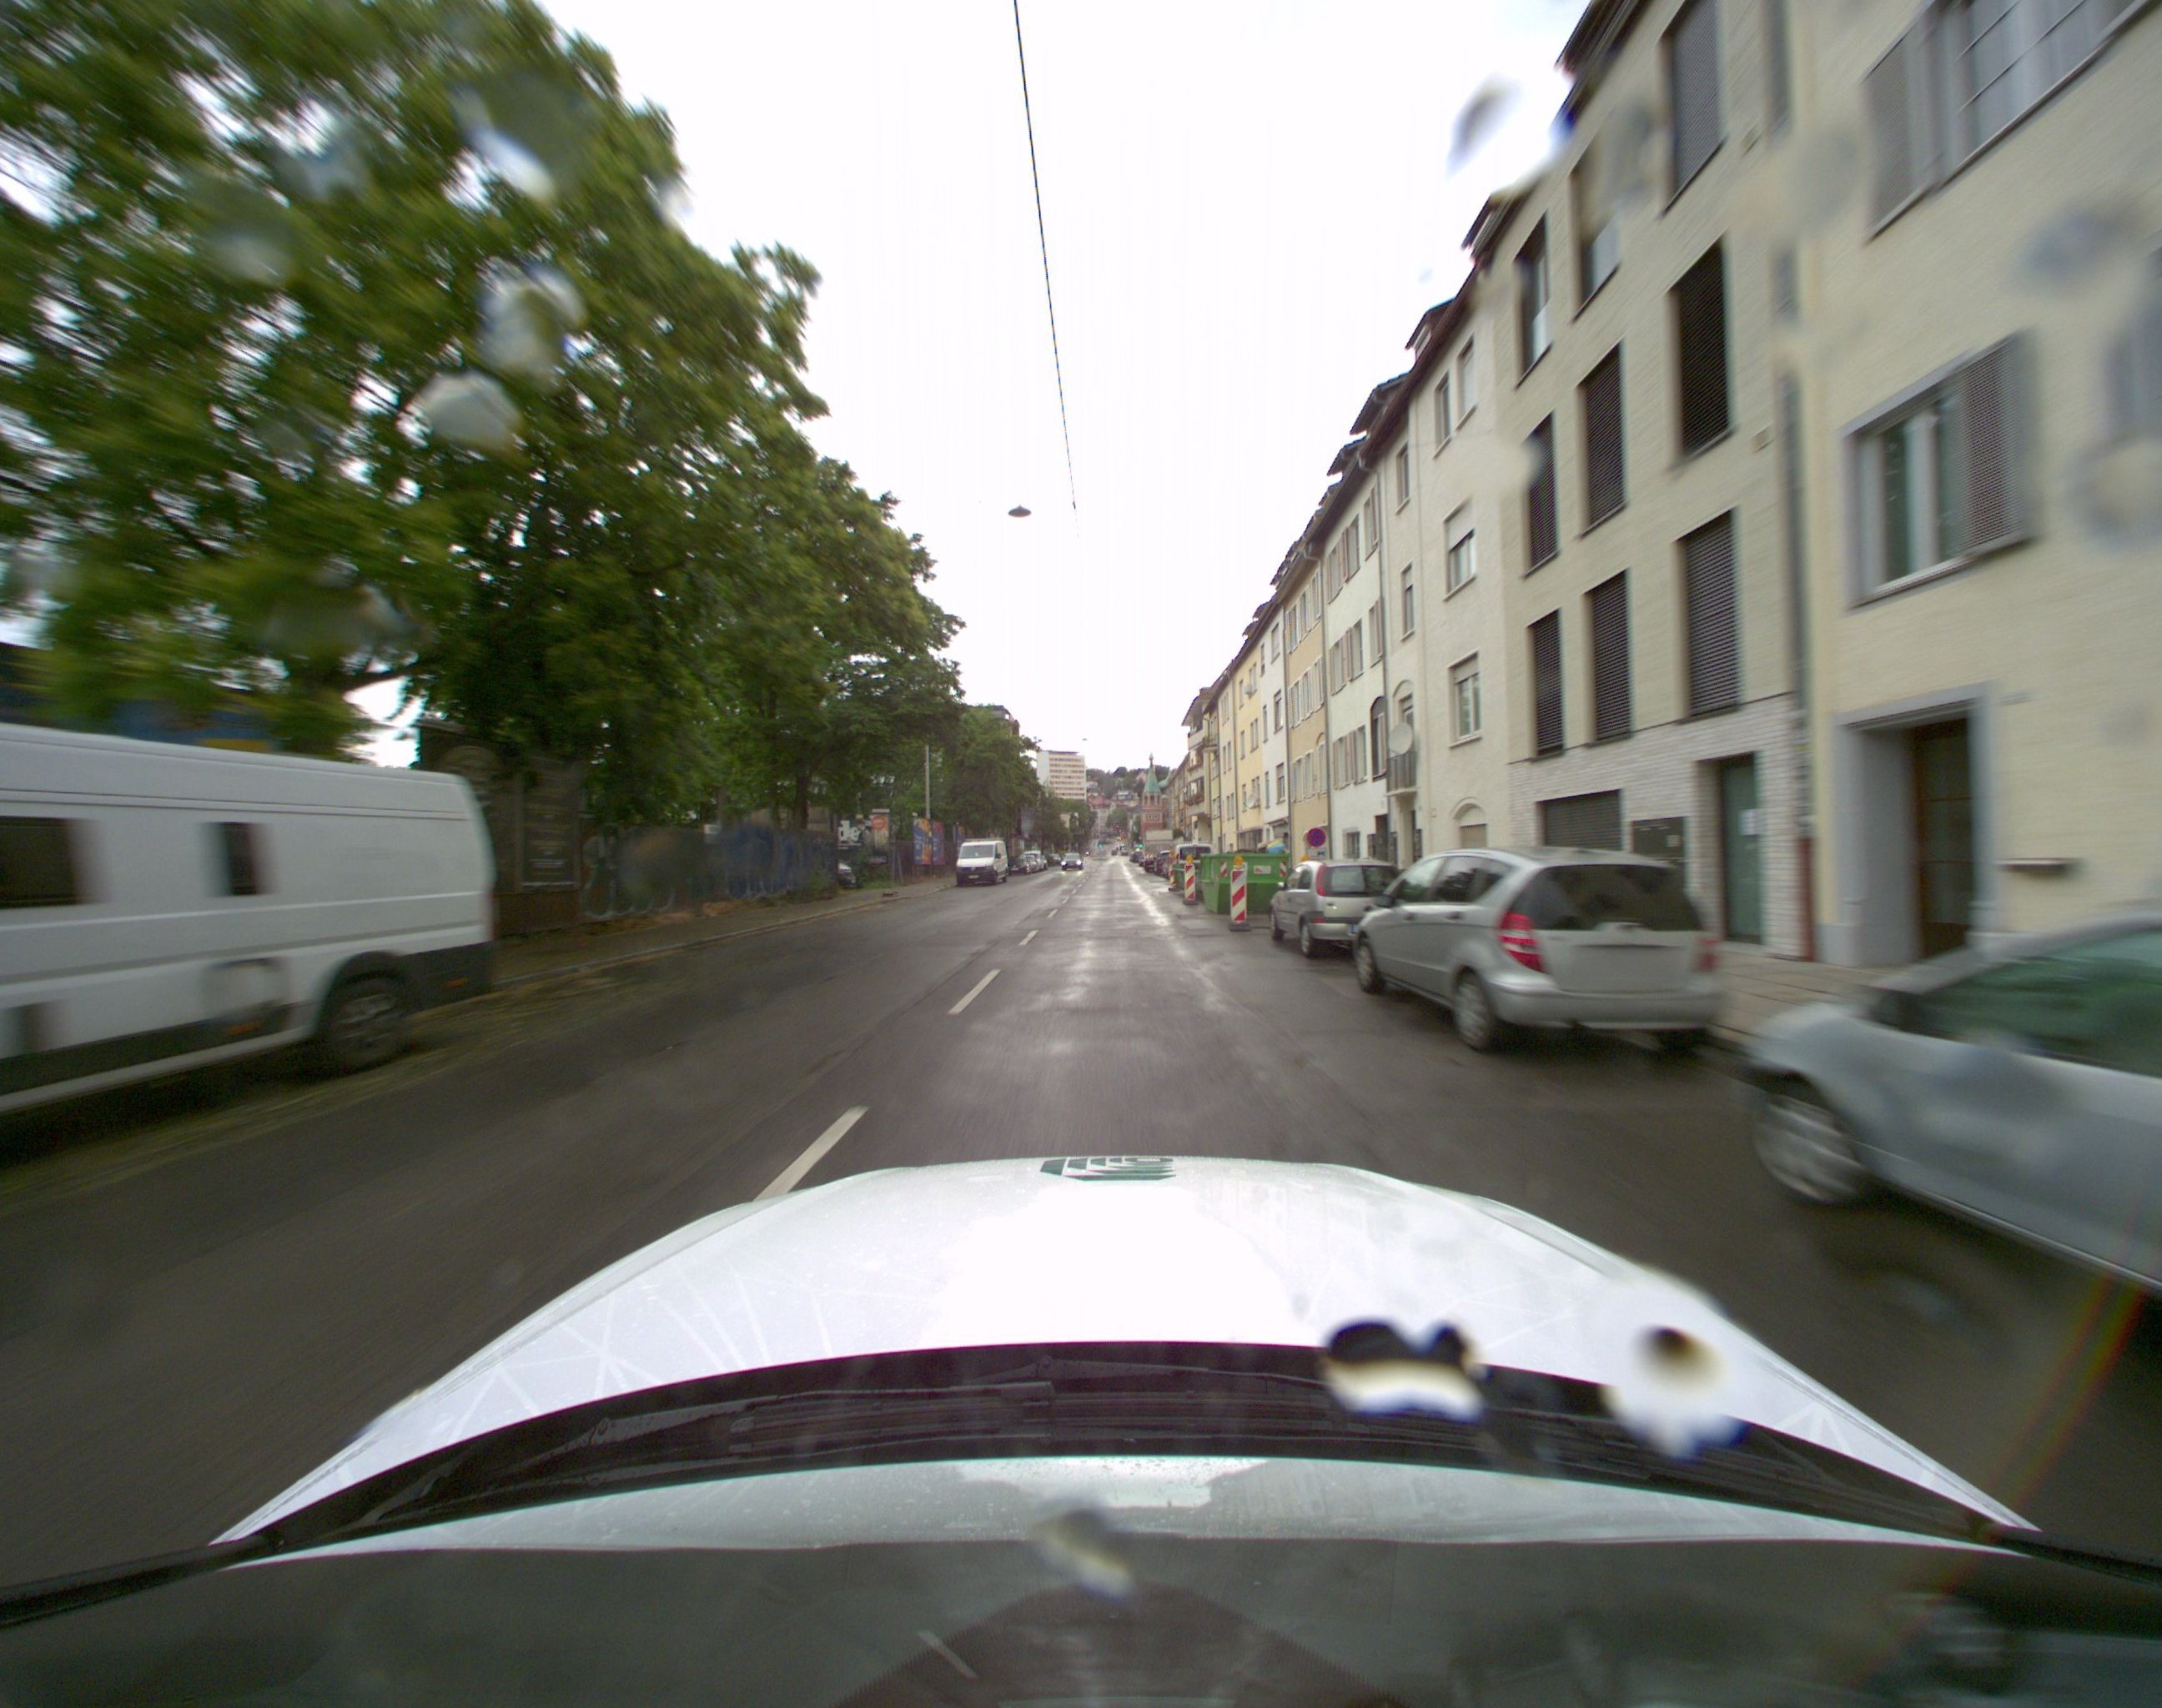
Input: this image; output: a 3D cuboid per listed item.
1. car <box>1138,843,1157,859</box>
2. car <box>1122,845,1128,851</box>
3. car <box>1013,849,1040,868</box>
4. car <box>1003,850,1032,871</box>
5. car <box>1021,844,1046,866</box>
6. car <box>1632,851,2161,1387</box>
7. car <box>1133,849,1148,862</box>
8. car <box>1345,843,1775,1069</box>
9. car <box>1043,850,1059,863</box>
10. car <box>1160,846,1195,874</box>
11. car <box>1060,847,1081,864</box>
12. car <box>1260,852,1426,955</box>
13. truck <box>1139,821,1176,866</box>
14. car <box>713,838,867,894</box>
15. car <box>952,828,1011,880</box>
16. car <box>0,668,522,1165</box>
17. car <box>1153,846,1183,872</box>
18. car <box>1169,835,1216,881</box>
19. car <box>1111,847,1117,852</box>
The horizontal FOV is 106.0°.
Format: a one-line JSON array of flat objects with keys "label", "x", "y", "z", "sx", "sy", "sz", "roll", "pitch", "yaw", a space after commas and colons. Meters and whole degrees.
[{"label": "car", "x": 6.746, "y": -0.279, "z": 83.398, "sx": 1.657, "sy": 1.502, "sz": 3.922, "roll": -2, "pitch": -1, "yaw": 1}, {"label": "car", "x": 13.191, "y": -1.715, "z": 243.814, "sx": 1.723, "sy": 1.653, "sz": 4.006, "roll": -2, "pitch": 1, "yaw": 5}, {"label": "car", "x": -4.351, "y": 0.376, "z": 65.523, "sx": 1.676, "sy": 1.462, "sz": 4.278, "roll": -3, "pitch": -1, "yaw": 1}, {"label": "car", "x": -4.540, "y": 0.469, "z": 58.705, "sx": 1.676, "sy": 1.398, "sz": 3.911, "roll": -3, "pitch": -1, "yaw": 1}, {"label": "car", "x": -4.069, "y": 0.119, "z": 70.082, "sx": 1.717, "sy": 1.800, "sz": 4.345, "roll": -3, "pitch": -1, "yaw": 1}, {"label": "car", "x": 3.736, "y": 0.724, "z": 2.562, "sx": 1.553, "sy": 1.454, "sz": 3.761, "roll": 0, "pitch": 0, "yaw": 1}, {"label": "car", "x": 7.928, "y": 0.165, "z": 108.853, "sx": 1.811, "sy": 1.652, "sz": 4.078, "roll": 0, "pitch": 0, "yaw": 2}, {"label": "car", "x": 3.874, "y": 0.675, "z": 7.491, "sx": 1.710, "sy": 1.524, "sz": 4.001, "roll": 0, "pitch": 0, "yaw": 1}, {"label": "car", "x": -3.646, "y": 0.290, "z": 99.739, "sx": 1.797, "sy": 1.450, "sz": 4.657, "roll": -2, "pitch": -1, "yaw": 0}, {"label": "car", "x": 5.580, "y": 0.331, "z": 47.413, "sx": 1.657, "sy": 1.500, "sz": 4.100, "roll": -2, "pitch": 0, "yaw": 2}, {"label": "car", "x": -0.923, "y": 0.157, "z": 73.180, "sx": 1.799, "sy": 1.415, "sz": 4.383, "roll": -2, "pitch": 0, "yaw": 0}, {"label": "car", "x": 4.057, "y": 0.682, "z": 13.216, "sx": 1.620, "sy": 1.411, "sz": 3.844, "roll": 0, "pitch": 0, "yaw": 2}, {"label": "truck", "x": 5.847, "y": -0.745, "z": 63.271, "sx": 2.459, "sy": 3.172, "sz": 7.040, "roll": -2, "pitch": -1, "yaw": 3}, {"label": "car", "x": -11.940, "y": 0.465, "z": 33.717, "sx": 5.482, "sy": 2.009, "sz": 2.146, "roll": -3, "pitch": 0, "yaw": -1}, {"label": "car", "x": -5.209, "y": -0.016, "z": 43.551, "sx": 2.003, "sy": 2.487, "sz": 5.988, "roll": -3, "pitch": 0, "yaw": 3}, {"label": "car", "x": -6.710, "y": 0.370, "z": 4.682, "sx": 2.222, "sy": 2.579, "sz": 6.539, "roll": -3, "pitch": 0, "yaw": 1}, {"label": "car", "x": 5.653, "y": 0.308, "z": 53.240, "sx": 1.657, "sy": 1.573, "sz": 4.100, "roll": -2, "pitch": 0, "yaw": 2}, {"label": "car", "x": 5.010, "y": 0.183, "z": 37.016, "sx": 1.809, "sy": 1.924, "sz": 4.243, "roll": -1, "pitch": 0, "yaw": 4}, {"label": "car", "x": 10.513, "y": -1.472, "z": 262.596, "sx": 1.901, "sy": 1.510, "sz": 4.002, "roll": -1, "pitch": 0, "yaw": 2}]
